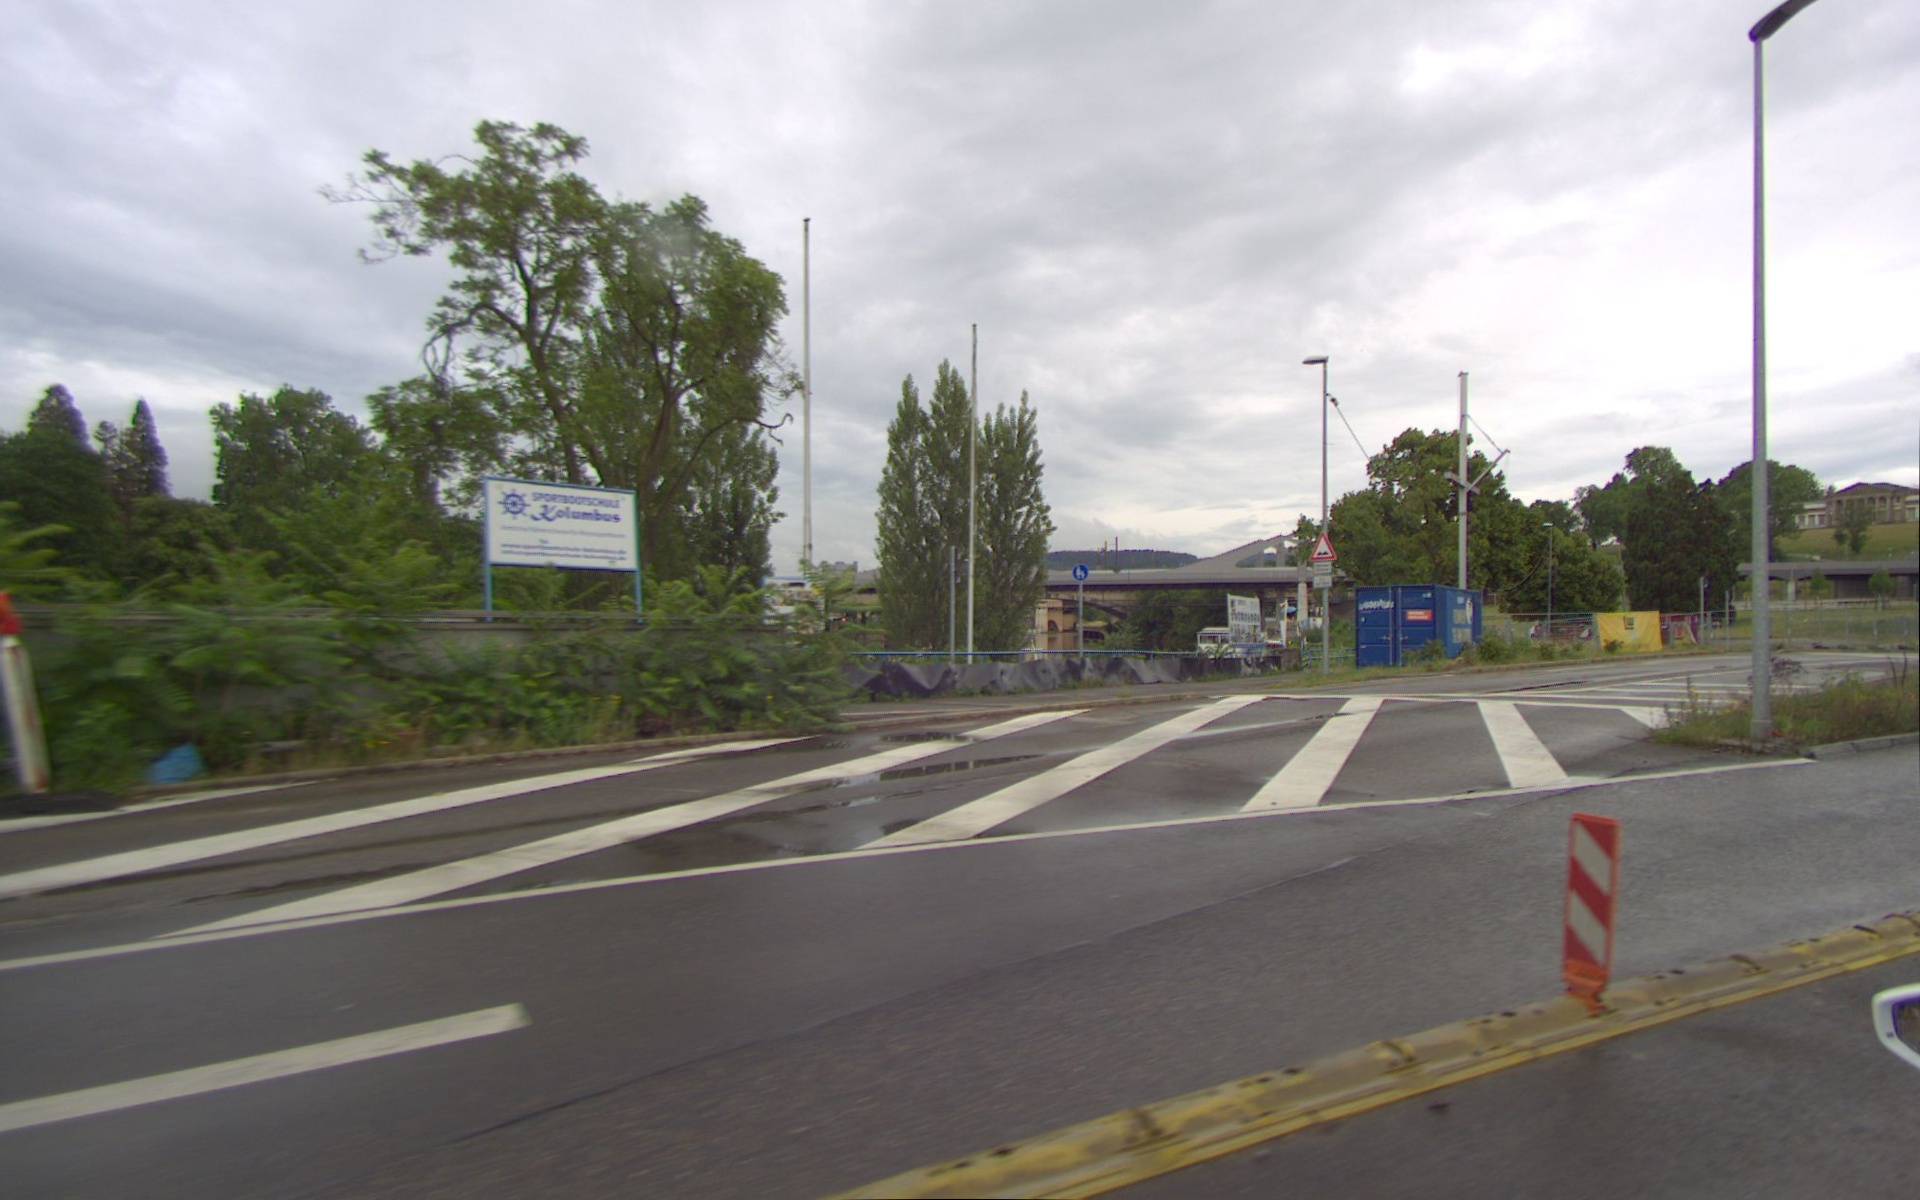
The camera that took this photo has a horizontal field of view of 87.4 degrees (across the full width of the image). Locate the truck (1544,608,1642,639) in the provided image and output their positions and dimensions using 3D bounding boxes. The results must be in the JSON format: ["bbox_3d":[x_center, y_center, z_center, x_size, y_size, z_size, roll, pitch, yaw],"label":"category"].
[{"bbox_3d":[62.291,2.330,99.075,7.810,2.839,2.422,-3,-2,23],"label":"truck"}]
